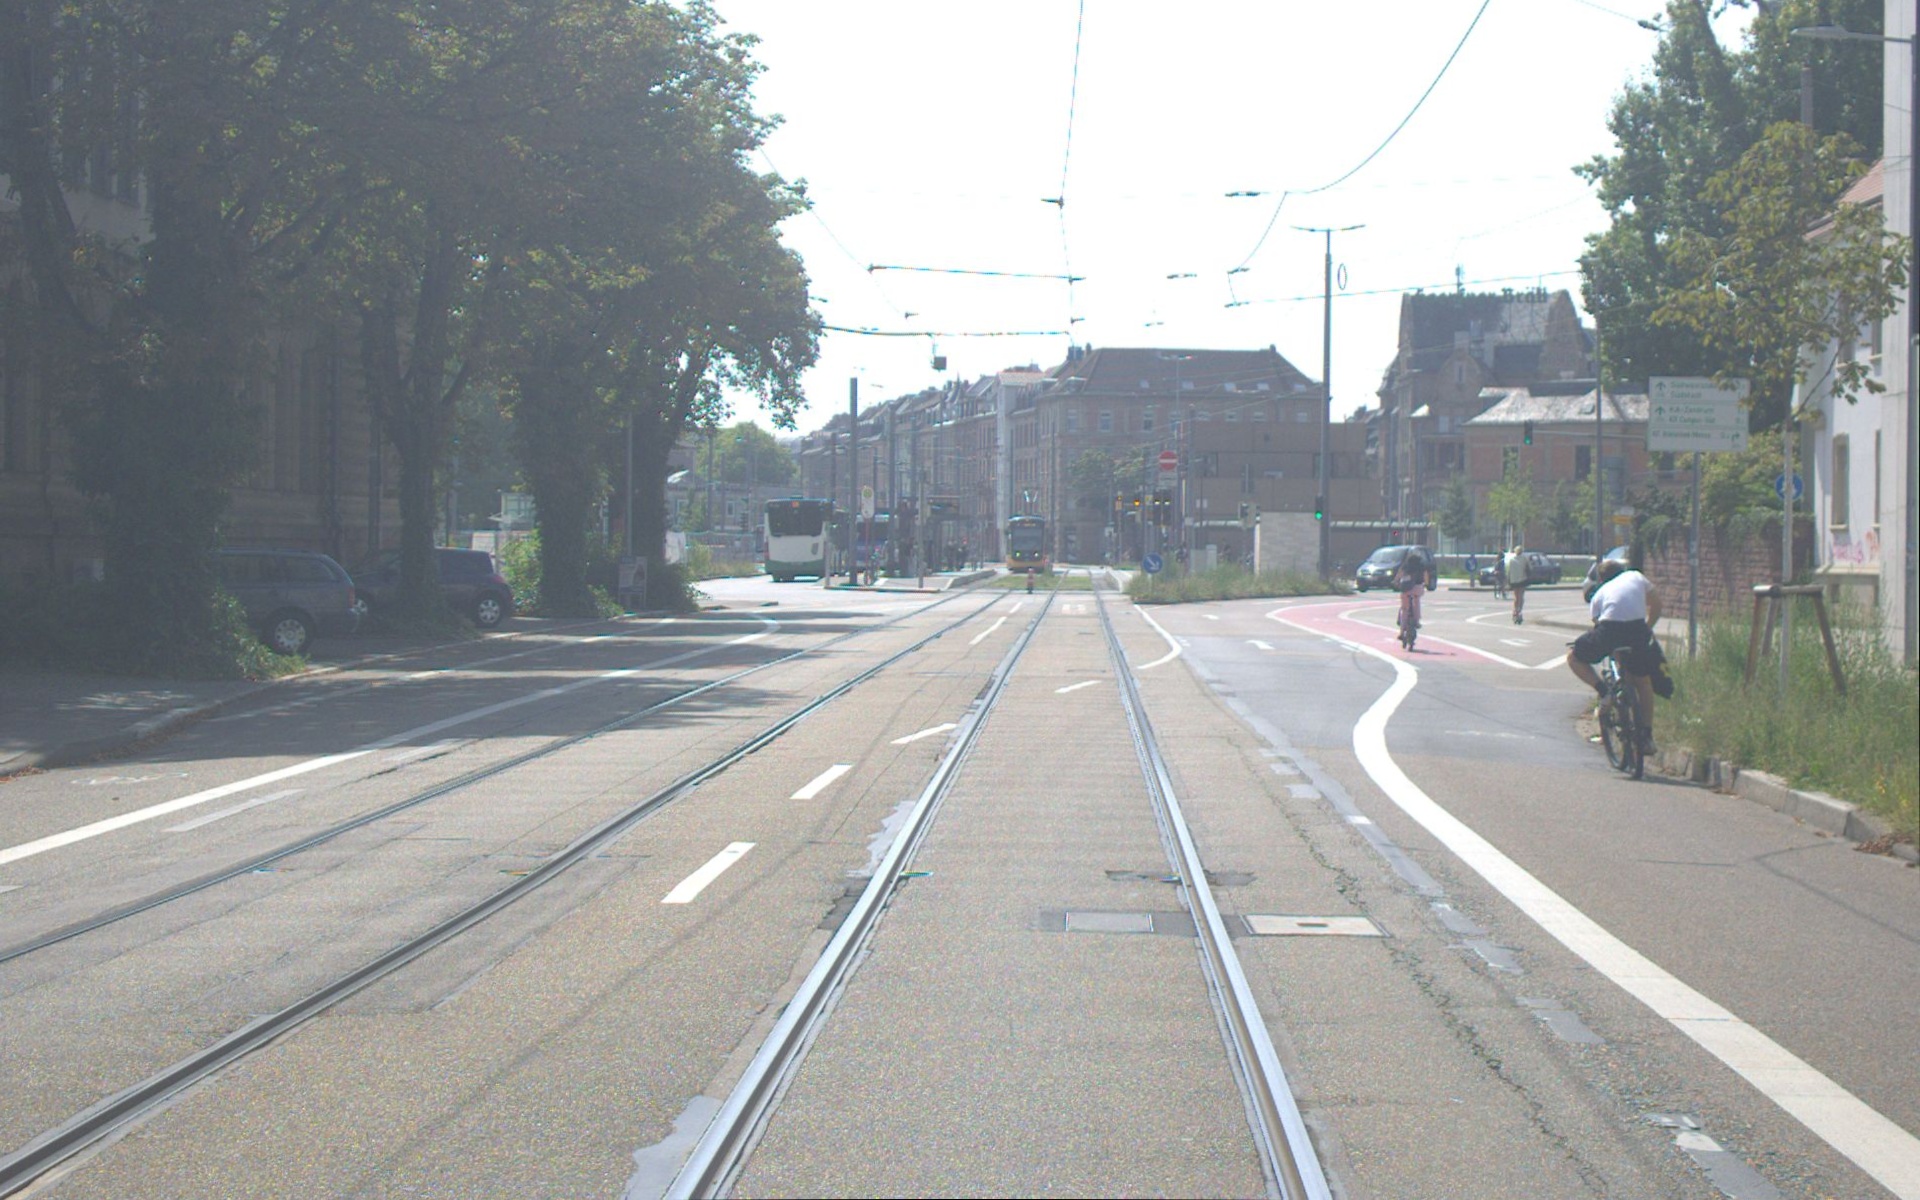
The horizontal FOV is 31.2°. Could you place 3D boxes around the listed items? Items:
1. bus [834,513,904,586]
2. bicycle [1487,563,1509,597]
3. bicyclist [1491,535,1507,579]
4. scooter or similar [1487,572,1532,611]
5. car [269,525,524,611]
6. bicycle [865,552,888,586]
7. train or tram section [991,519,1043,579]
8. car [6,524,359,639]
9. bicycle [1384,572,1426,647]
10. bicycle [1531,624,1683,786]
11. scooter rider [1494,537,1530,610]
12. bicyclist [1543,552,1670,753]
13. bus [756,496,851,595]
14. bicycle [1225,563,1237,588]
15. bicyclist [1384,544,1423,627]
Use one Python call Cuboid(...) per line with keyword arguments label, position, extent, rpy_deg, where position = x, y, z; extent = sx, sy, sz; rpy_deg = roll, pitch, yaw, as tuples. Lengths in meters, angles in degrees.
Cuboid(label="bus", position=(-4.818, -2.684, 183.902), extent=(2.710, 3.714, 10.418), rpy_deg=(1, 1, 4))
Cuboid(label="bicycle", position=(17.747, -0.667, 113.399), extent=(0.444, 1.113, 1.445), rpy_deg=(1, 1, 21))
Cuboid(label="bicyclist", position=(17.795, -1.419, 113.495), extent=(0.450, 1.416, 0.495), rpy_deg=(1, 1, 20))
Cuboid(label="scooter or similar", position=(13.441, -0.220, 84.046), extent=(0.773, 0.923, 1.619), rpy_deg=(2, 1, 20))
Cuboid(label="car", position=(-10.180, -0.570, 62.172), extent=(4.150, 1.491, 1.821), rpy_deg=(0, 1, -35))
Cuboid(label="bicycle", position=(-3.029, -1.118, 125.169), extent=(0.607, 1.218, 1.705), rpy_deg=(1, 1, 6))
Cuboid(label="train or tram section", position=(3.645, -3.183, 216.044), extent=(2.856, 3.536, 17.742), rpy_deg=(1, 1, 2))
Cuboid(label="car", position=(-10.629, -0.254, 47.005), extent=(4.414, 1.457, 1.821), rpy_deg=(1, 1, -24))
Cuboid(label="bicycle", position=(7.156, 0.145, 55.330), extent=(0.604, 1.159, 1.810), rpy_deg=(1, 1, 5))
Cuboid(label="bicycle", position=(4.635, 0.730, 24.759), extent=(0.739, 1.045, 2.233), rpy_deg=(1, 1, 2))
Cuboid(label="scooter rider", position=(13.523, -0.641, 84.227), extent=(0.763, 1.769, 0.554), rpy_deg=(1, 1, 20))
Cuboid(label="bicyclist", position=(4.660, 0.367, 24.837), extent=(0.745, 1.407, 0.962), rpy_deg=(1, 1, 3))
Cuboid(label="bus", position=(-6.229, -2.164, 138.329), extent=(2.958, 3.762, 10.596), rpy_deg=(1, 1, 2))
Cuboid(label="bicycle", position=(11.253, -1.033, 142.705), extent=(0.464, 1.029, 1.548), rpy_deg=(1, 1, 4))
Cuboid(label="bicyclist", position=(7.138, -0.235, 55.338), extent=(0.603, 1.330, 0.659), rpy_deg=(1, 1, 6))
